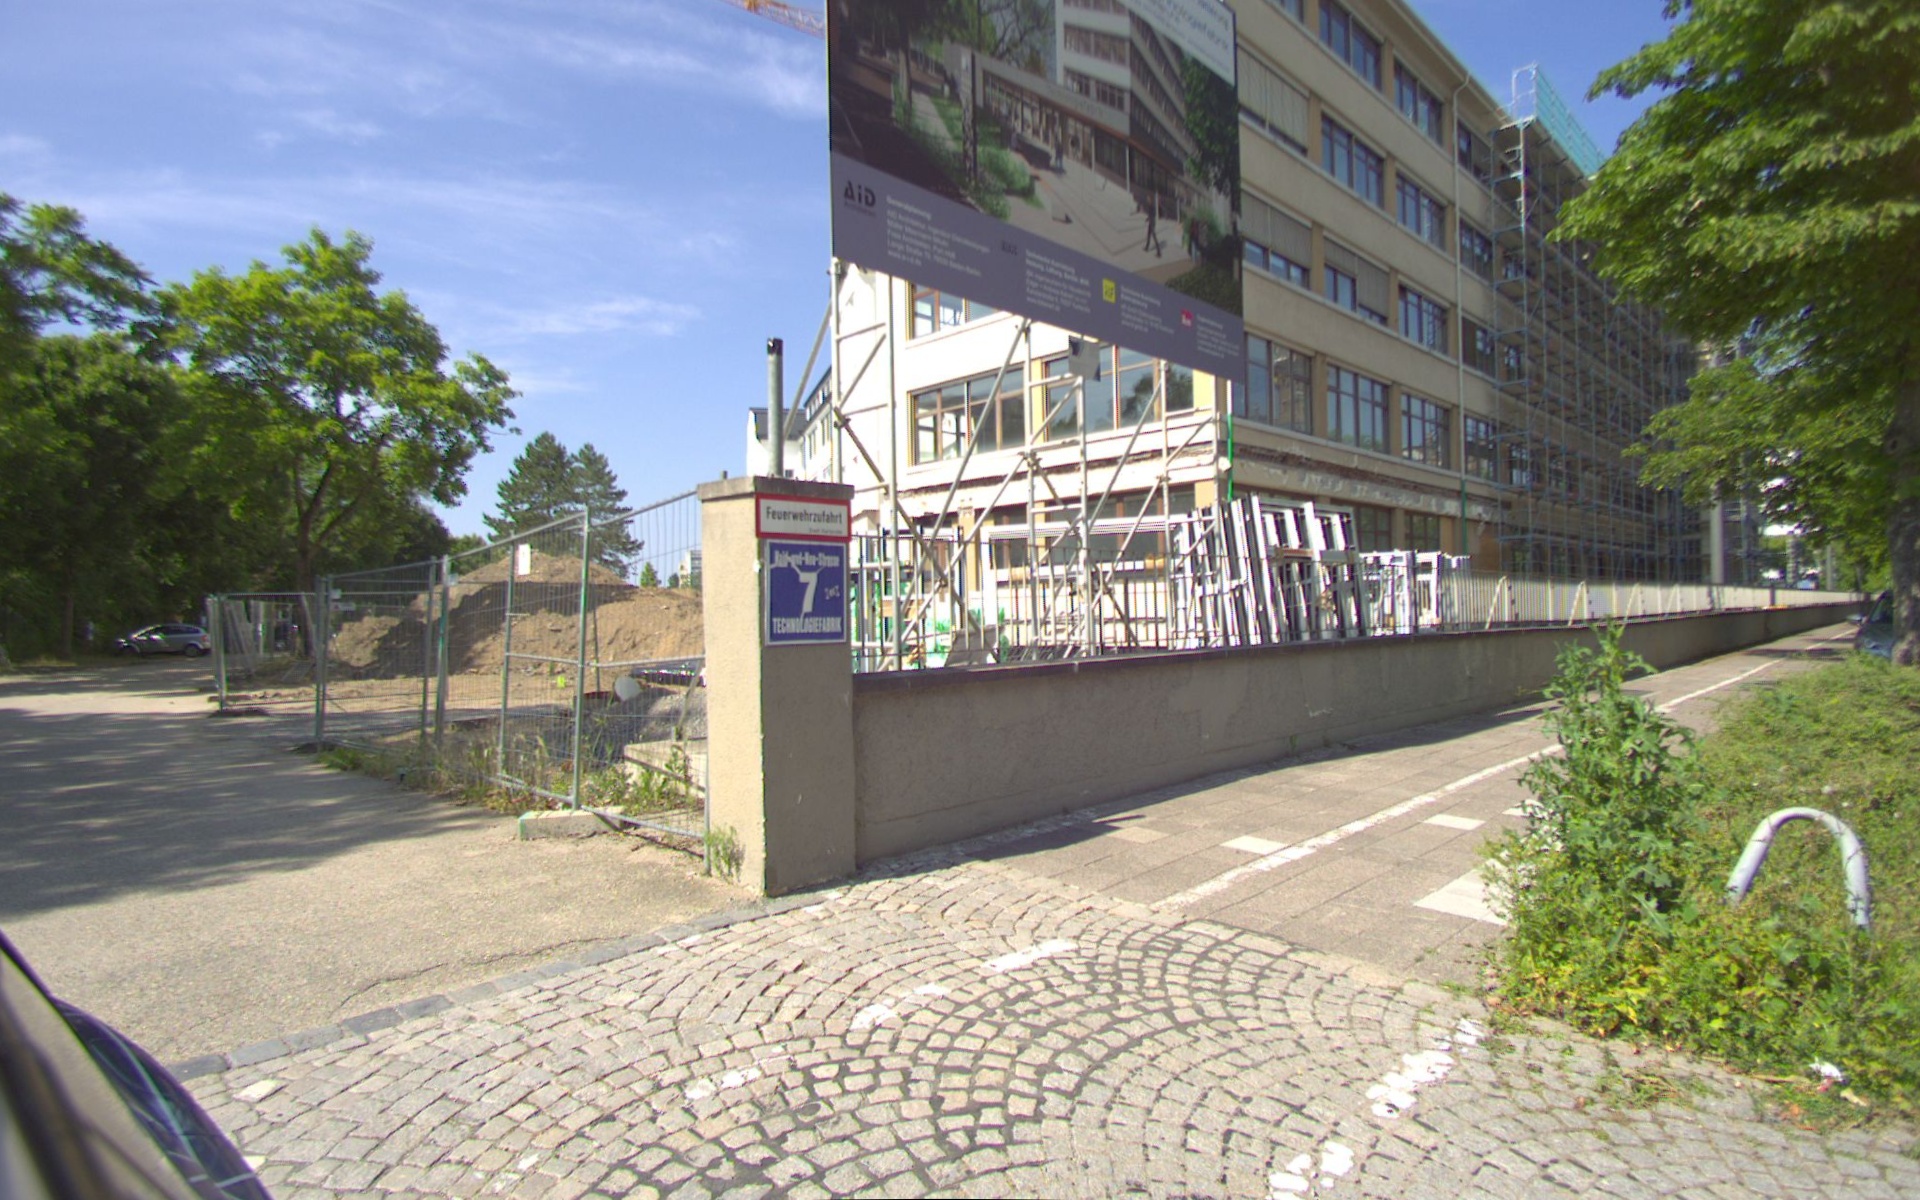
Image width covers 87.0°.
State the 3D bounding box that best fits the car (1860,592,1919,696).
[{"bbox_3d":[15.594,0.636,16.026,1.822,1.506,4.048,-2,-1,44],"label":"car"}]

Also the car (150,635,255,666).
[{"bbox_3d":[-38.629,2.552,51.723,3.930,1.453,2.007,0,-1,-25],"label":"car"}]

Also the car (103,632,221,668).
[{"bbox_3d":[-36.635,2.268,46.591,3.930,1.519,2.007,0,-1,-25],"label":"car"}]

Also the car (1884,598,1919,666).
[{"bbox_3d":[22.319,0.679,22.958,1.822,1.464,3.942,-4,-3,44],"label":"car"}]
